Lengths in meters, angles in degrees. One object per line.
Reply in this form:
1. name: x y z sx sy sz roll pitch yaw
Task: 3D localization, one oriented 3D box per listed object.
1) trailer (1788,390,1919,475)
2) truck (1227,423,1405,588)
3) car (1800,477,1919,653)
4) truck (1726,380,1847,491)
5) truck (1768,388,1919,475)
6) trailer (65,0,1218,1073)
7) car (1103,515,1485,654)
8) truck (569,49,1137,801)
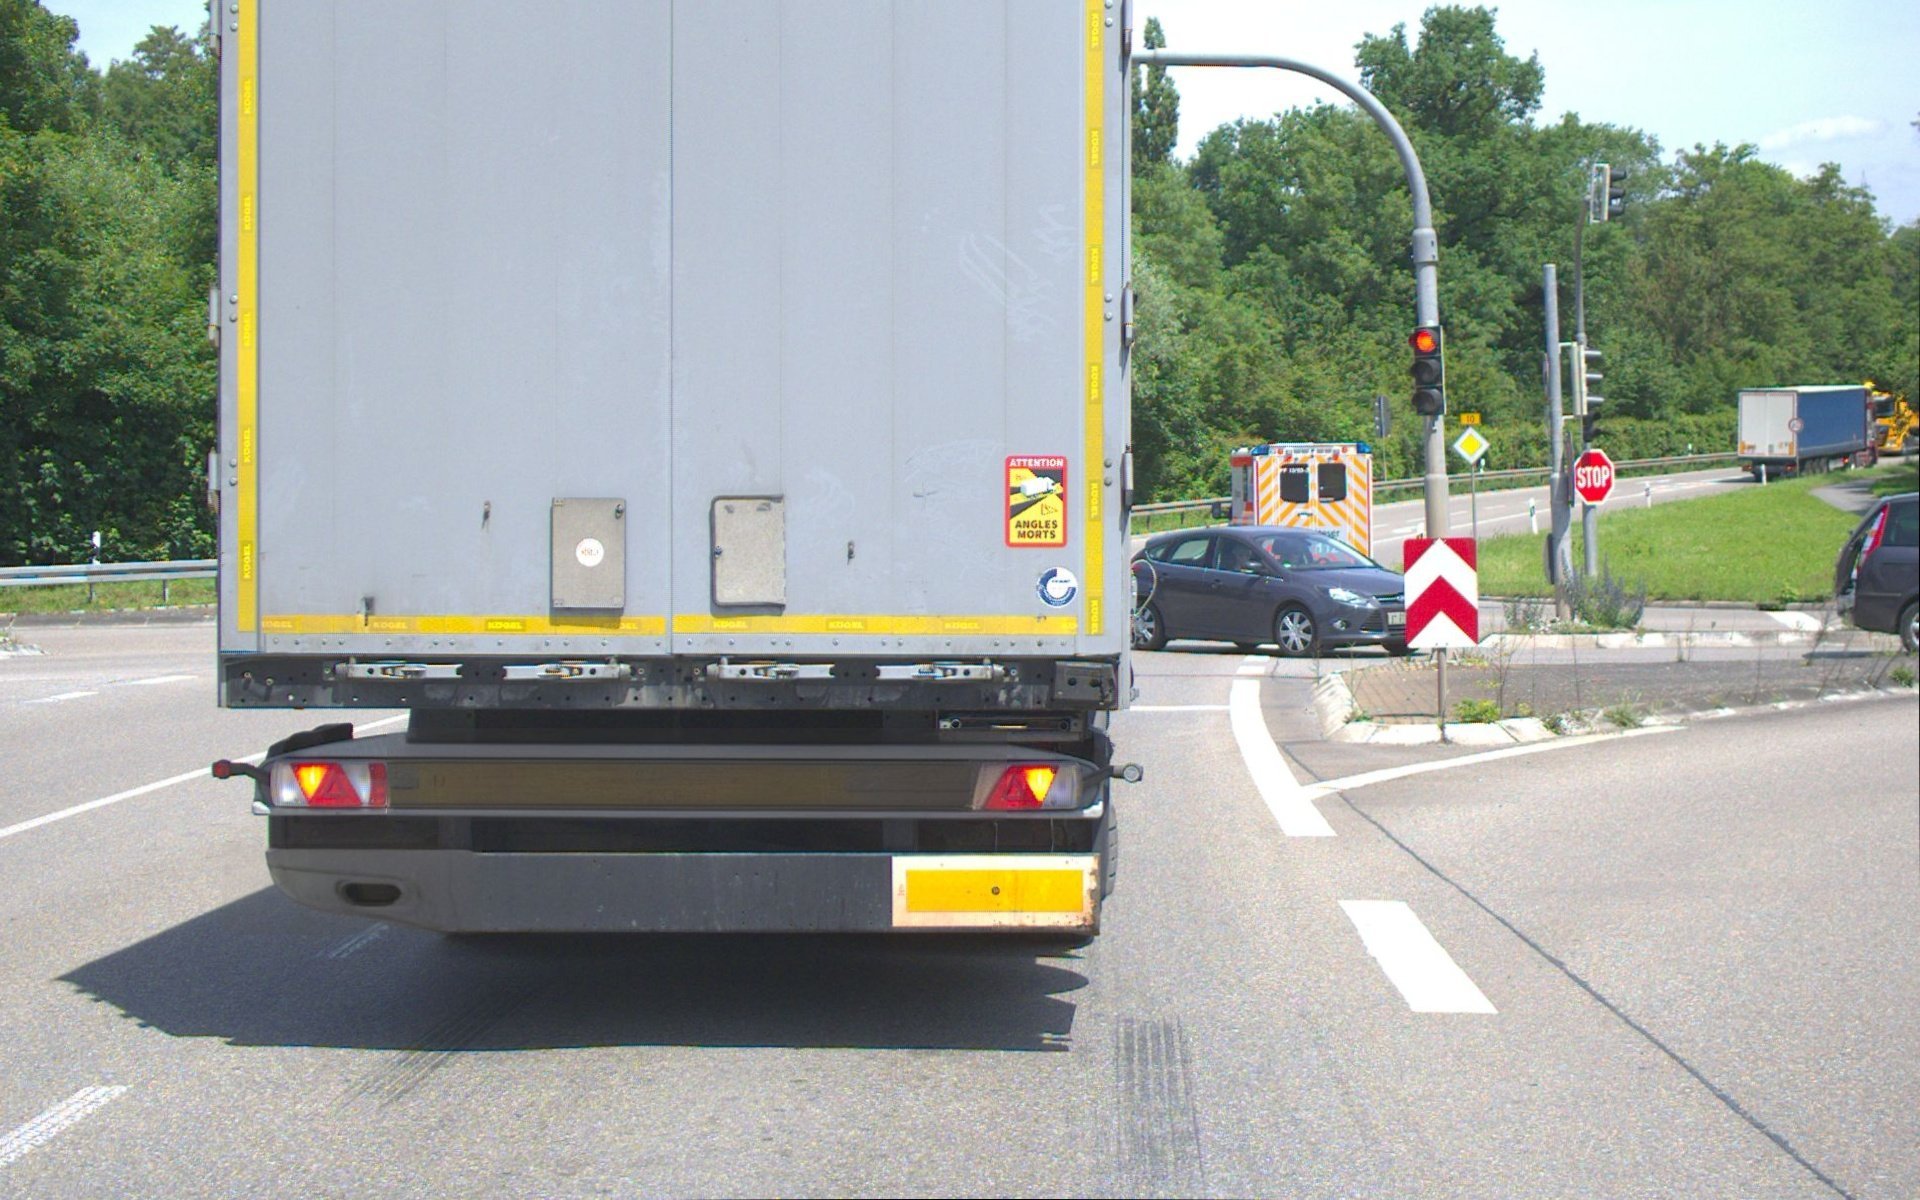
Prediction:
1. trailer: 50.431 -9.053 187.277 5.019 4.347 20.806 1 2 29
2. truck: 6.344 -1.638 62.048 2.493 2.718 6.030 1 -1 -1
3. car: 11.246 -0.331 35.345 4.930 1.779 1.998 0 -1 18
4. truck: 36.851 -7.218 152.910 3.183 4.016 11.729 1 -2 23
5. truck: 46.365 -8.765 179.836 5.019 4.347 11.747 1 2 29
6. trailer: -0.669 -0.891 15.378 3.052 4.020 12.559 0 1 2
7. car: 3.750 -0.154 39.244 1.994 1.486 4.257 1 -1 -36
8. truck: -0.480 -1.001 21.768 3.038 4.020 6.629 0 1 2
